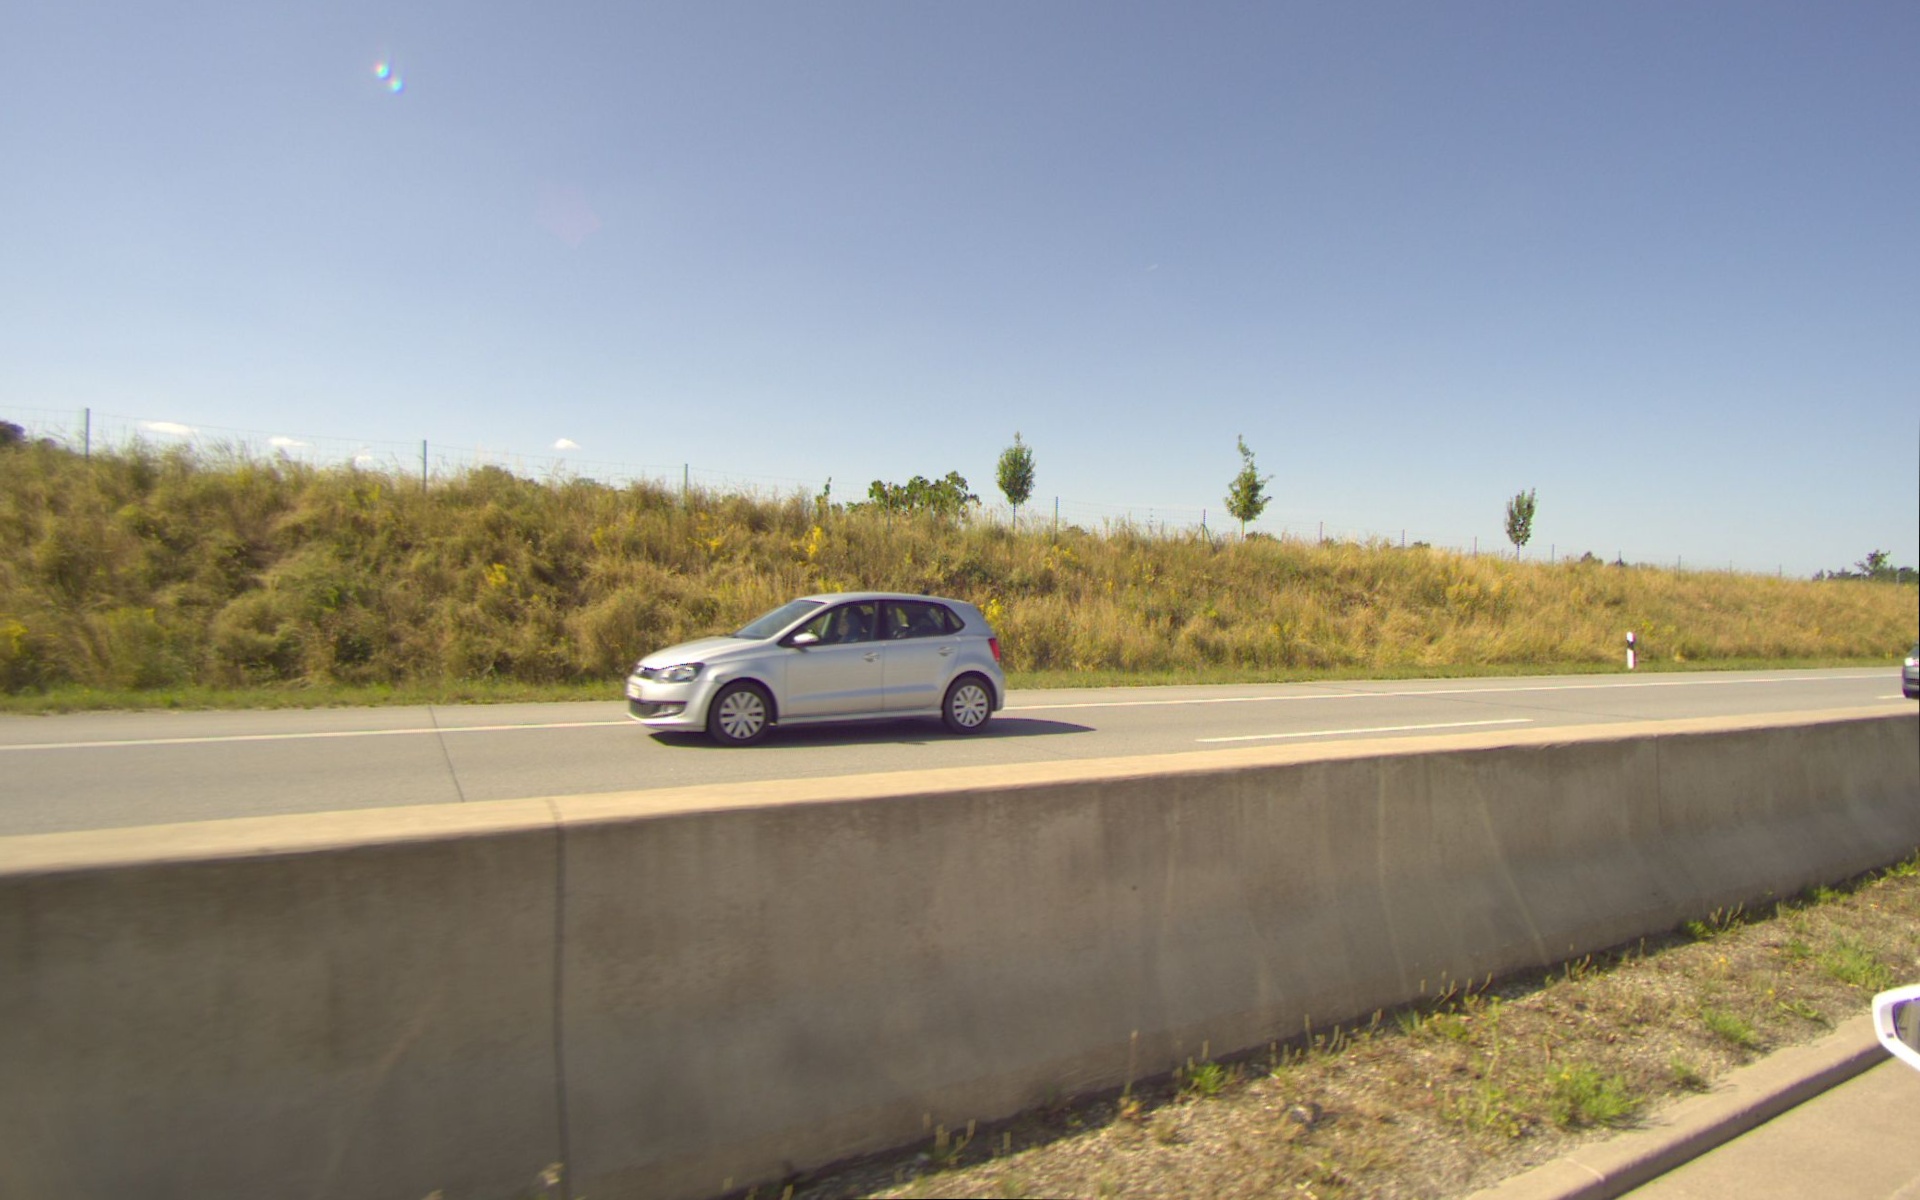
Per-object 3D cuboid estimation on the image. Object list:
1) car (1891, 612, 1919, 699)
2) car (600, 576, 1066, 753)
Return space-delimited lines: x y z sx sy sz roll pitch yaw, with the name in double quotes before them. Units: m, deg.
"car" 19.986 1.095 19.460 4.518 1.596 1.867 2 0 -34
"car" -1.270 0.605 10.615 4.511 1.522 1.870 2 0 -30
